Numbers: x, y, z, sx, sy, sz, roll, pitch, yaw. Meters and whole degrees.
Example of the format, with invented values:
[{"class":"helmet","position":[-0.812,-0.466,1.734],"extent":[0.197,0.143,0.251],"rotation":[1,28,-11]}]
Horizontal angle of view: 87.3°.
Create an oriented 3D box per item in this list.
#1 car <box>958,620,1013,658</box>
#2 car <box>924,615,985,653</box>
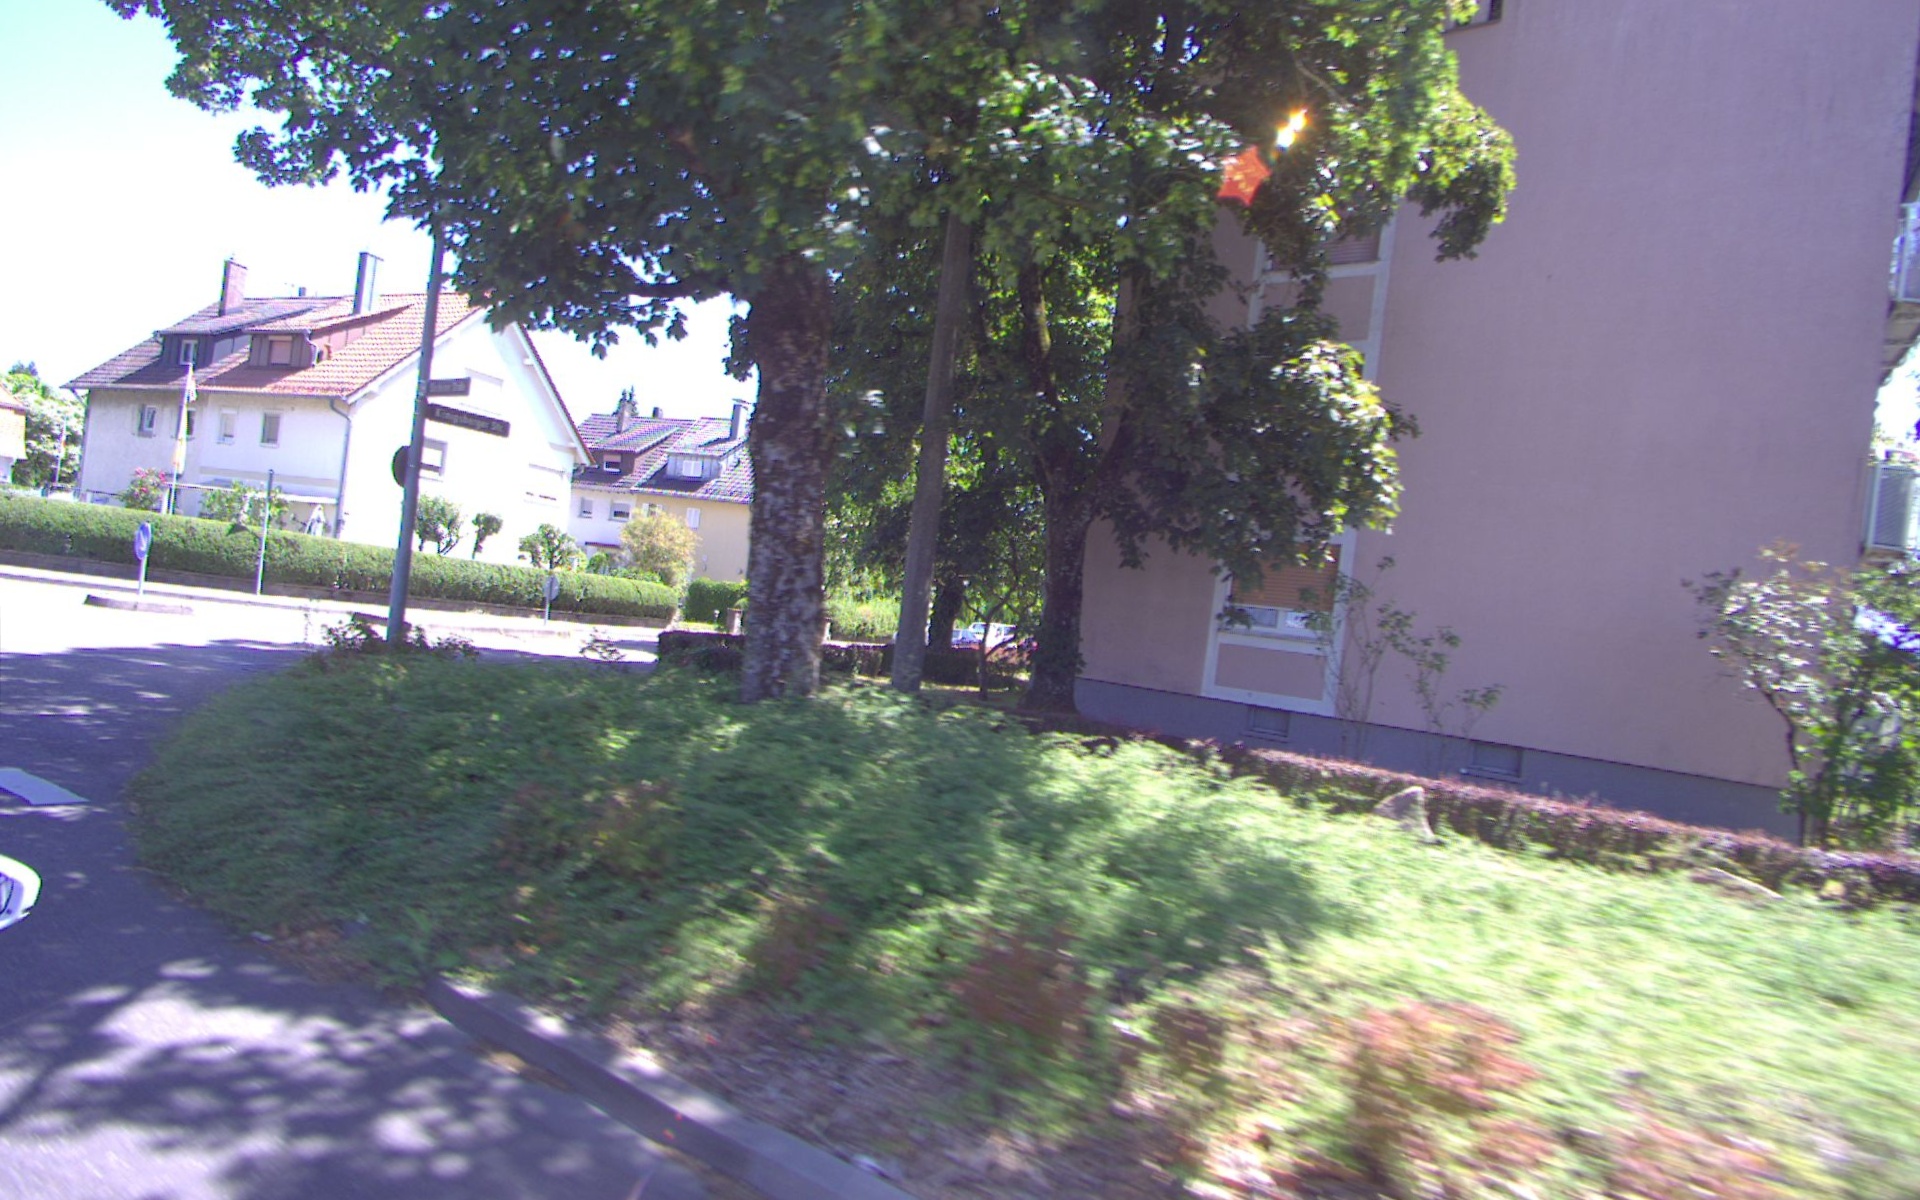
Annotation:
[{"class":"car","position":[1.499,2.275,57.574],"extent":[1.678,1.846,3.852],"rotation":[7,-1,24]},{"class":"car","position":[-0.235,1.842,53.274],"extent":[1.678,1.651,3.853],"rotation":[7,-1,24]}]
